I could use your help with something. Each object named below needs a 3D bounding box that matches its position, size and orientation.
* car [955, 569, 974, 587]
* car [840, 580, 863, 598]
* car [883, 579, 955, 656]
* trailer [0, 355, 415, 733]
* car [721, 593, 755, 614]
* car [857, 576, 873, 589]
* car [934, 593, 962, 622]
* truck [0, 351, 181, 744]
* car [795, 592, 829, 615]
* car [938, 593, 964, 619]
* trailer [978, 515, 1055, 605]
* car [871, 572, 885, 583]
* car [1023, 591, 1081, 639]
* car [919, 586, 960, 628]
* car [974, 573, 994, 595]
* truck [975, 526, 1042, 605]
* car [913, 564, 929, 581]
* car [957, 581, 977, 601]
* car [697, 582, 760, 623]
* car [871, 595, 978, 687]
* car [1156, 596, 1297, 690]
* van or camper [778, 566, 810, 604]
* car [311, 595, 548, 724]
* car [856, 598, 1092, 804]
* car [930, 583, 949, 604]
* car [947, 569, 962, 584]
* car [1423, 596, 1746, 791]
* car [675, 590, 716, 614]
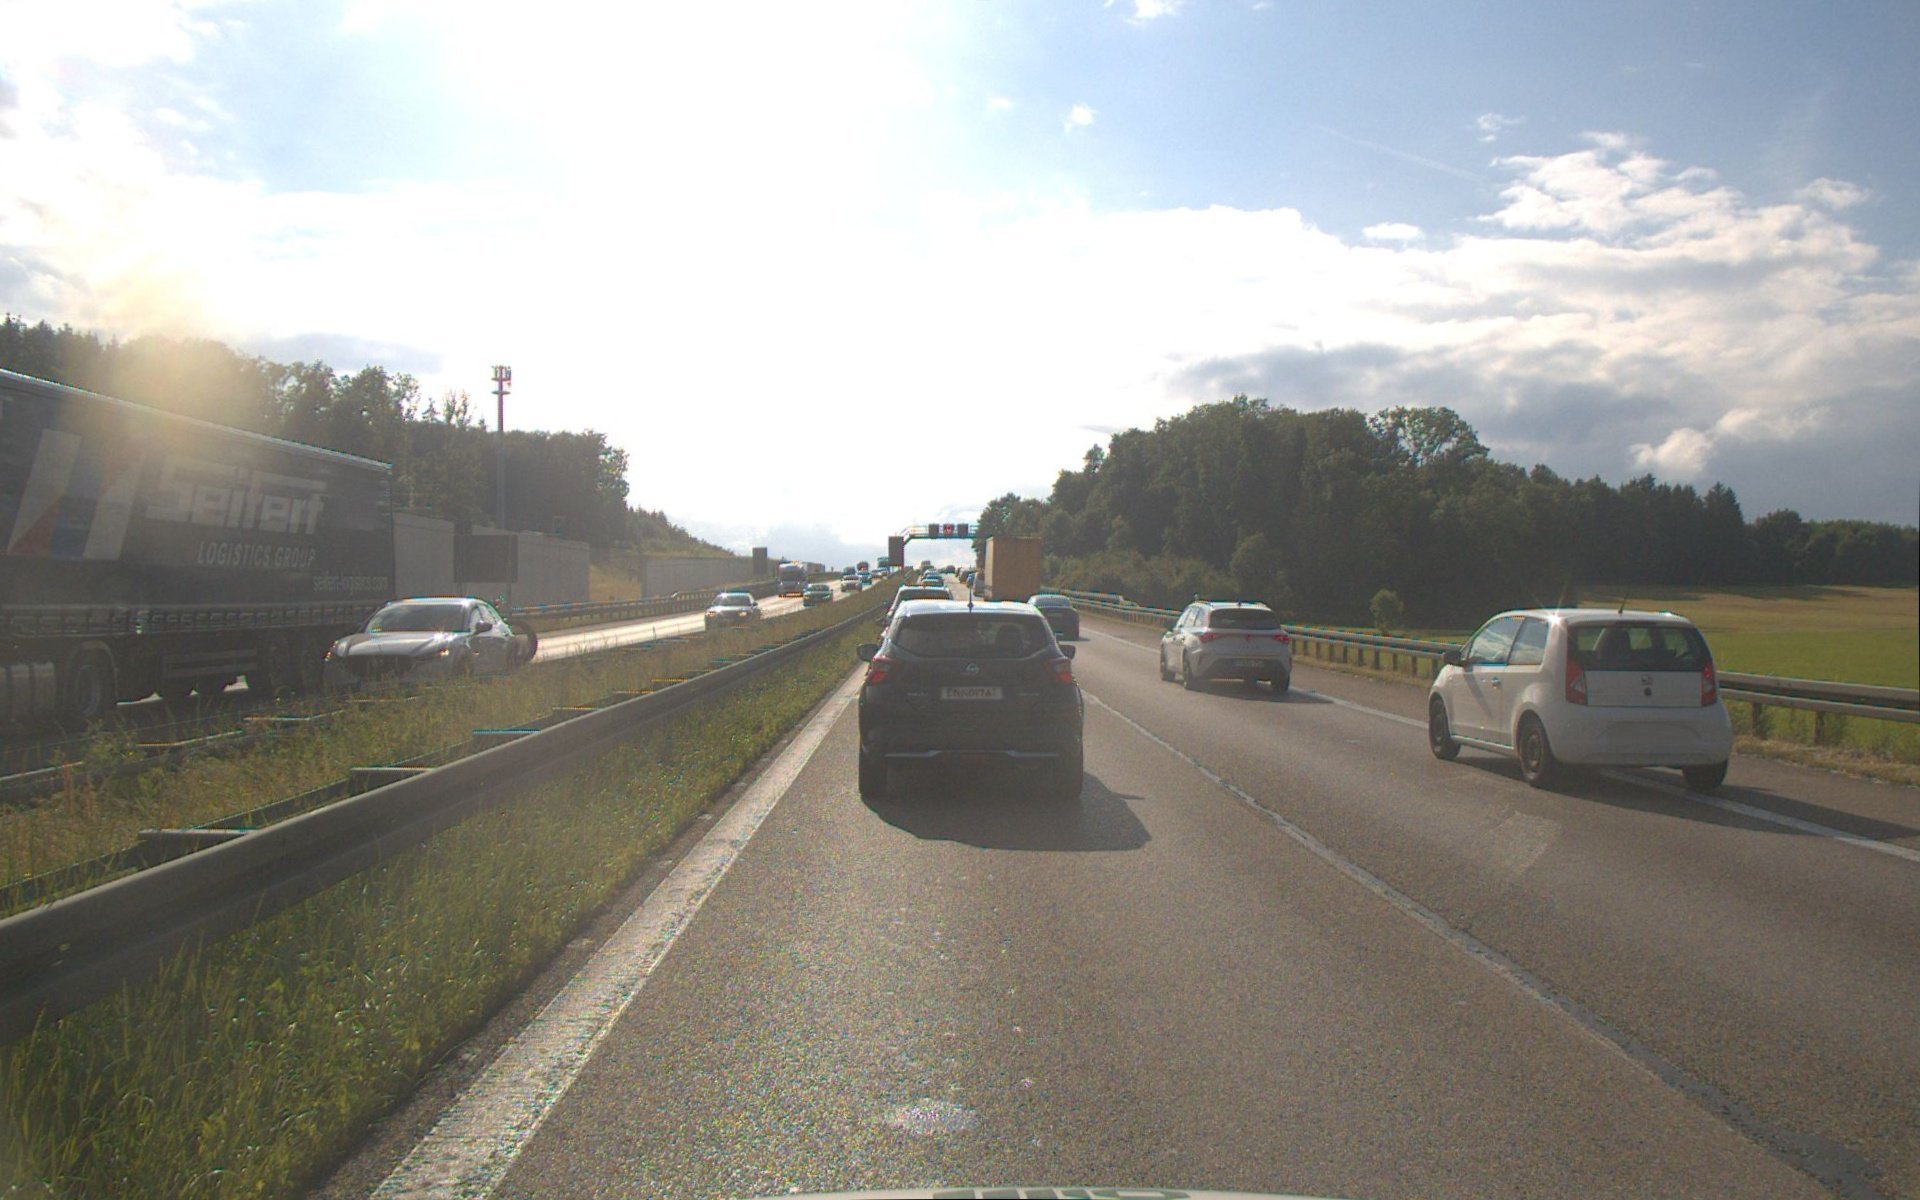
[{"bbox_3d":[0.515,-2.532,193.046,1.953,2.049,3.998,1,0,-2],"label":"car"},{"bbox_3d":[-10.264,-0.997,156.412,1.953,1.621,4.447,1,0,-2],"label":"car"},{"bbox_3d":[-0.957,0.418,40.100,1.639,1.756,3.596,1,-1,0],"label":"car"},{"bbox_3d":[-11.597,-0.585,24.775,2.703,4.187,12.901,0,0,-1],"label":"trailer"},{"bbox_3d":[-16.108,0.236,120.239,1.953,1.458,4.447,1,0,-2],"label":"car"},{"bbox_3d":[-11.292,-2.123,196.498,1.816,1.458,4.447,0,0,-2],"label":"car"},{"bbox_3d":[-0.906,0.567,124.371,1.953,2.049,3.998,1,0,-2],"label":"car"},{"bbox_3d":[-11.531,-0.553,18.167,2.698,4.162,6.952,0,0,-1],"label":"truck"},{"bbox_3d":[-9.771,0.260,109.591,1.953,1.458,4.447,1,0,-2],"label":"car"},{"bbox_3d":[-0.746,0.480,134.446,1.953,2.049,3.998,1,0,-2],"label":"car"},{"bbox_3d":[2.949,-2.030,90.971,3.477,4.535,12.718,1,0,-1],"label":"trailer"},{"bbox_3d":[-11.644,-3.183,235.451,1.953,1.458,4.447,1,0,-2],"label":"car"},{"bbox_3d":[3.039,0.503,55.505,1.711,1.501,4.146,1,-1,0],"label":"car"},{"bbox_3d":[-1.063,0.348,84.176,1.953,2.049,3.998,1,0,-2],"label":"car"},{"bbox_3d":[2.011,-1.304,138.621,1.633,1.785,3.327,1,0,1],"label":"car"},{"bbox_3d":[2.774,-1.958,97.496,3.509,4.456,6.686,1,-1,-2],"label":"truck"},{"bbox_3d":[-4.990,-3.482,209.231,1.953,2.049,3.998,1,0,-2],"label":"car"},{"bbox_3d":[0.690,-0.925,171.553,1.953,2.049,3.998,1,0,-2],"label":"car"},{"bbox_3d":[-8.830,0.116,63.348,1.863,1.490,4.182,1,0,-1],"label":"car"},{"bbox_3d":[-0.543,0.651,27.375,1.639,1.391,3.596,1,-1,0],"label":"car"},{"bbox_3d":[4.485,0.706,28.405,1.588,1.471,4.145,1,-1,-2],"label":"car"},{"bbox_3d":[-14.084,-1.236,140.843,2.180,3.133,6.510,1,0,-2],"label":"van or camper"},{"bbox_3d":[-7.543,0.790,24.113,1.850,1.660,5.109,1,0,-1],"label":"car"},{"bbox_3d":[0.118,0.738,13.539,1.675,1.451,3.378,1,-1,1],"label":"car"},{"bbox_3d":[-1.874,-0.586,149.876,1.633,1.785,3.327,1,0,1],"label":"car"},{"bbox_3d":[-0.750,-3.350,235.338,1.953,2.049,3.998,1,0,-2],"label":"car"},{"bbox_3d":[5.466,0.743,14.906,1.518,1.521,3.376,1,0,-2],"label":"car"},{"bbox_3d":[-16.601,0.117,103.930,1.953,1.458,4.447,1,0,-2],"label":"car"}]
